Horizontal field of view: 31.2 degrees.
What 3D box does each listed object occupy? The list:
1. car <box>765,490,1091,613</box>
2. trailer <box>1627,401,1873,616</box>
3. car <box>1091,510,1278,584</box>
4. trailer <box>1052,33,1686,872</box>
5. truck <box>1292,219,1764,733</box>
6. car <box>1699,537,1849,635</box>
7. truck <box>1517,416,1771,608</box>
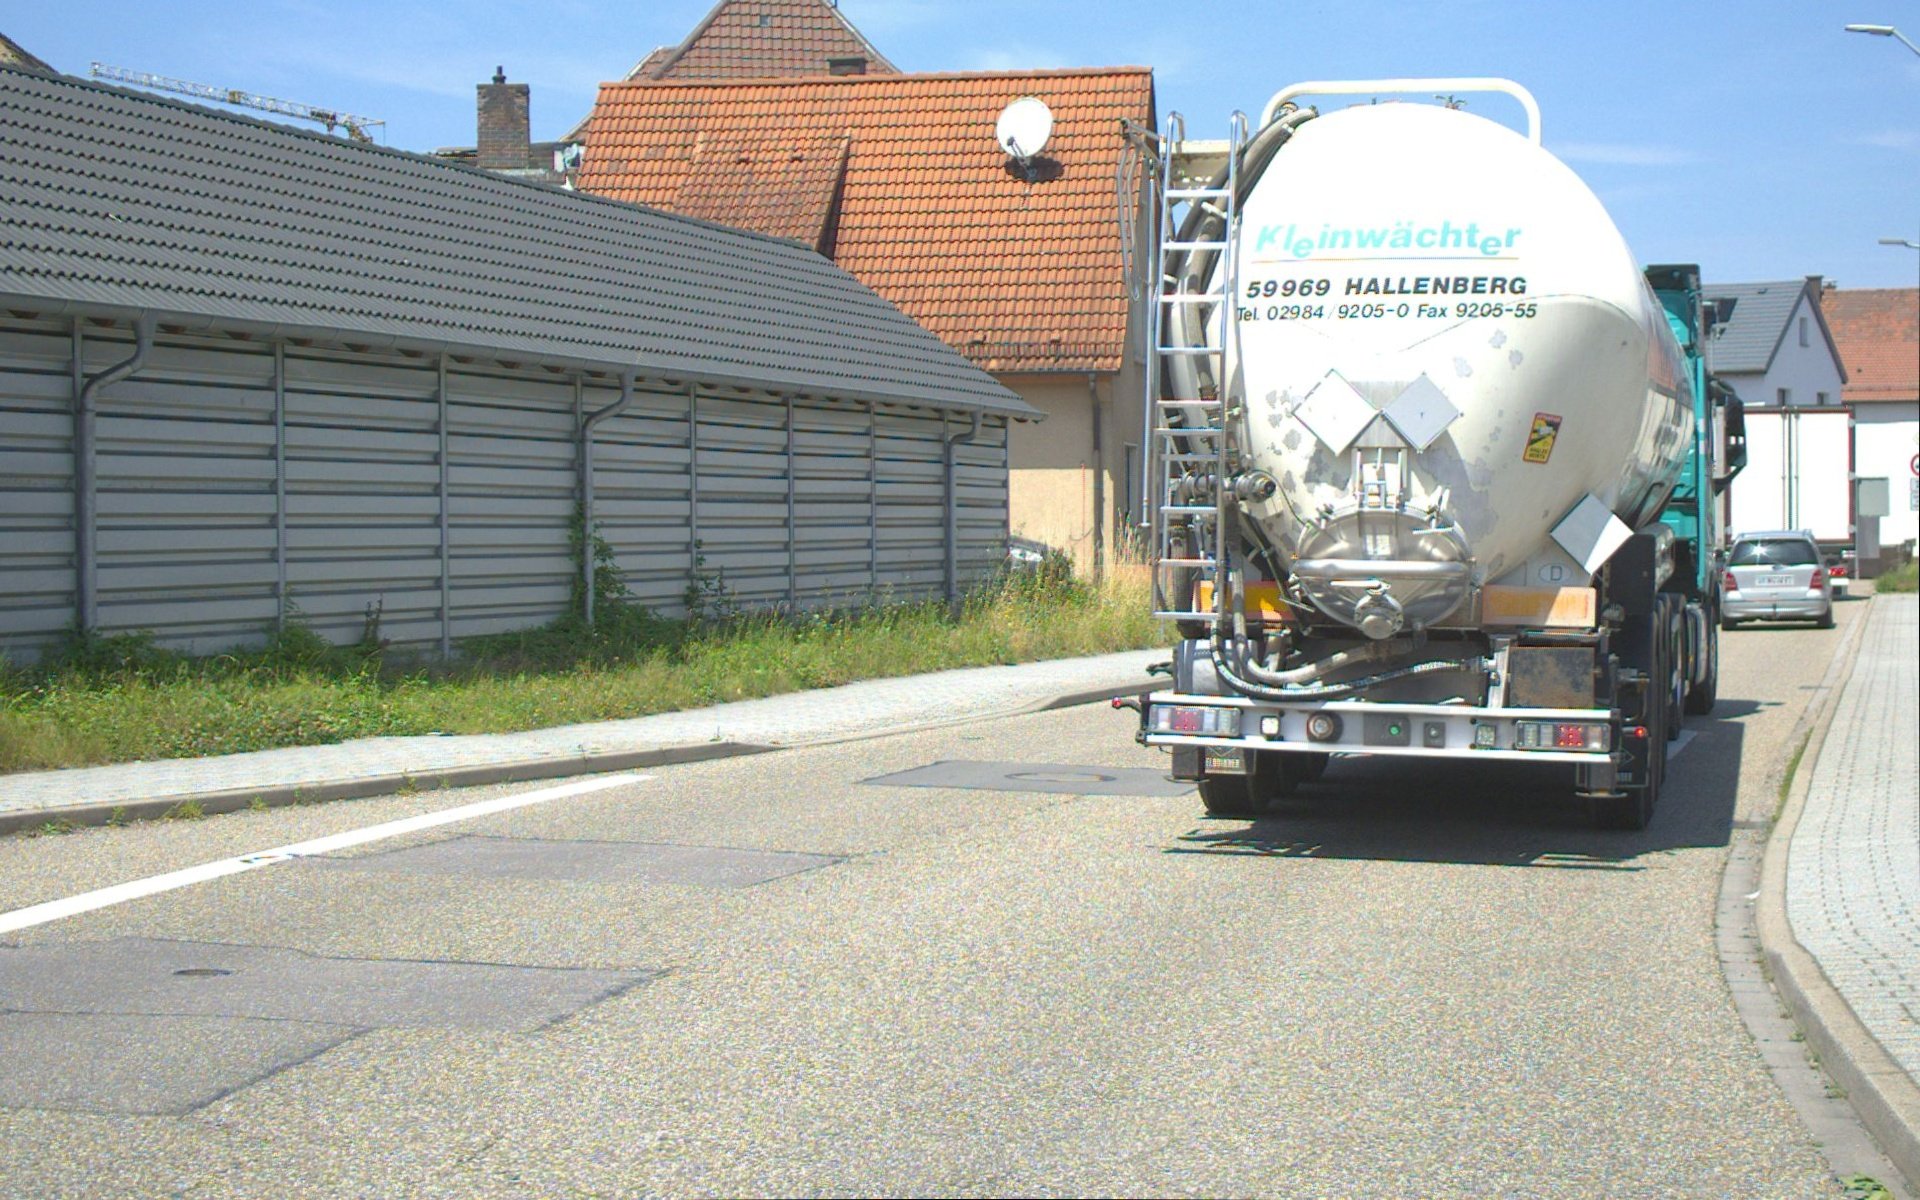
[{"bbox_3d":[-0.430,-0.670,47.723,4.128,1.632,1.864,0,1,18],"label":"car"},{"bbox_3d":[16.834,-1.892,74.244,3.132,4.262,12.494,0,1,3],"label":"trailer"},{"bbox_3d":[5.770,-1.382,88.456,4.517,1.779,1.876,2,3,37],"label":"car"},{"bbox_3d":[3.124,-0.768,22.123,2.954,3.934,11.612,0,1,12],"label":"trailer"},{"bbox_3d":[5.025,-0.997,29.572,2.991,3.951,5.573,0,1,20],"label":"truck"},{"bbox_3d":[12.784,-0.237,54.174,1.843,1.481,3.999,0,1,7],"label":"car"},{"bbox_3d":[16.198,-2.056,81.822,3.104,4.386,5.936,0,1,-23],"label":"truck"}]
